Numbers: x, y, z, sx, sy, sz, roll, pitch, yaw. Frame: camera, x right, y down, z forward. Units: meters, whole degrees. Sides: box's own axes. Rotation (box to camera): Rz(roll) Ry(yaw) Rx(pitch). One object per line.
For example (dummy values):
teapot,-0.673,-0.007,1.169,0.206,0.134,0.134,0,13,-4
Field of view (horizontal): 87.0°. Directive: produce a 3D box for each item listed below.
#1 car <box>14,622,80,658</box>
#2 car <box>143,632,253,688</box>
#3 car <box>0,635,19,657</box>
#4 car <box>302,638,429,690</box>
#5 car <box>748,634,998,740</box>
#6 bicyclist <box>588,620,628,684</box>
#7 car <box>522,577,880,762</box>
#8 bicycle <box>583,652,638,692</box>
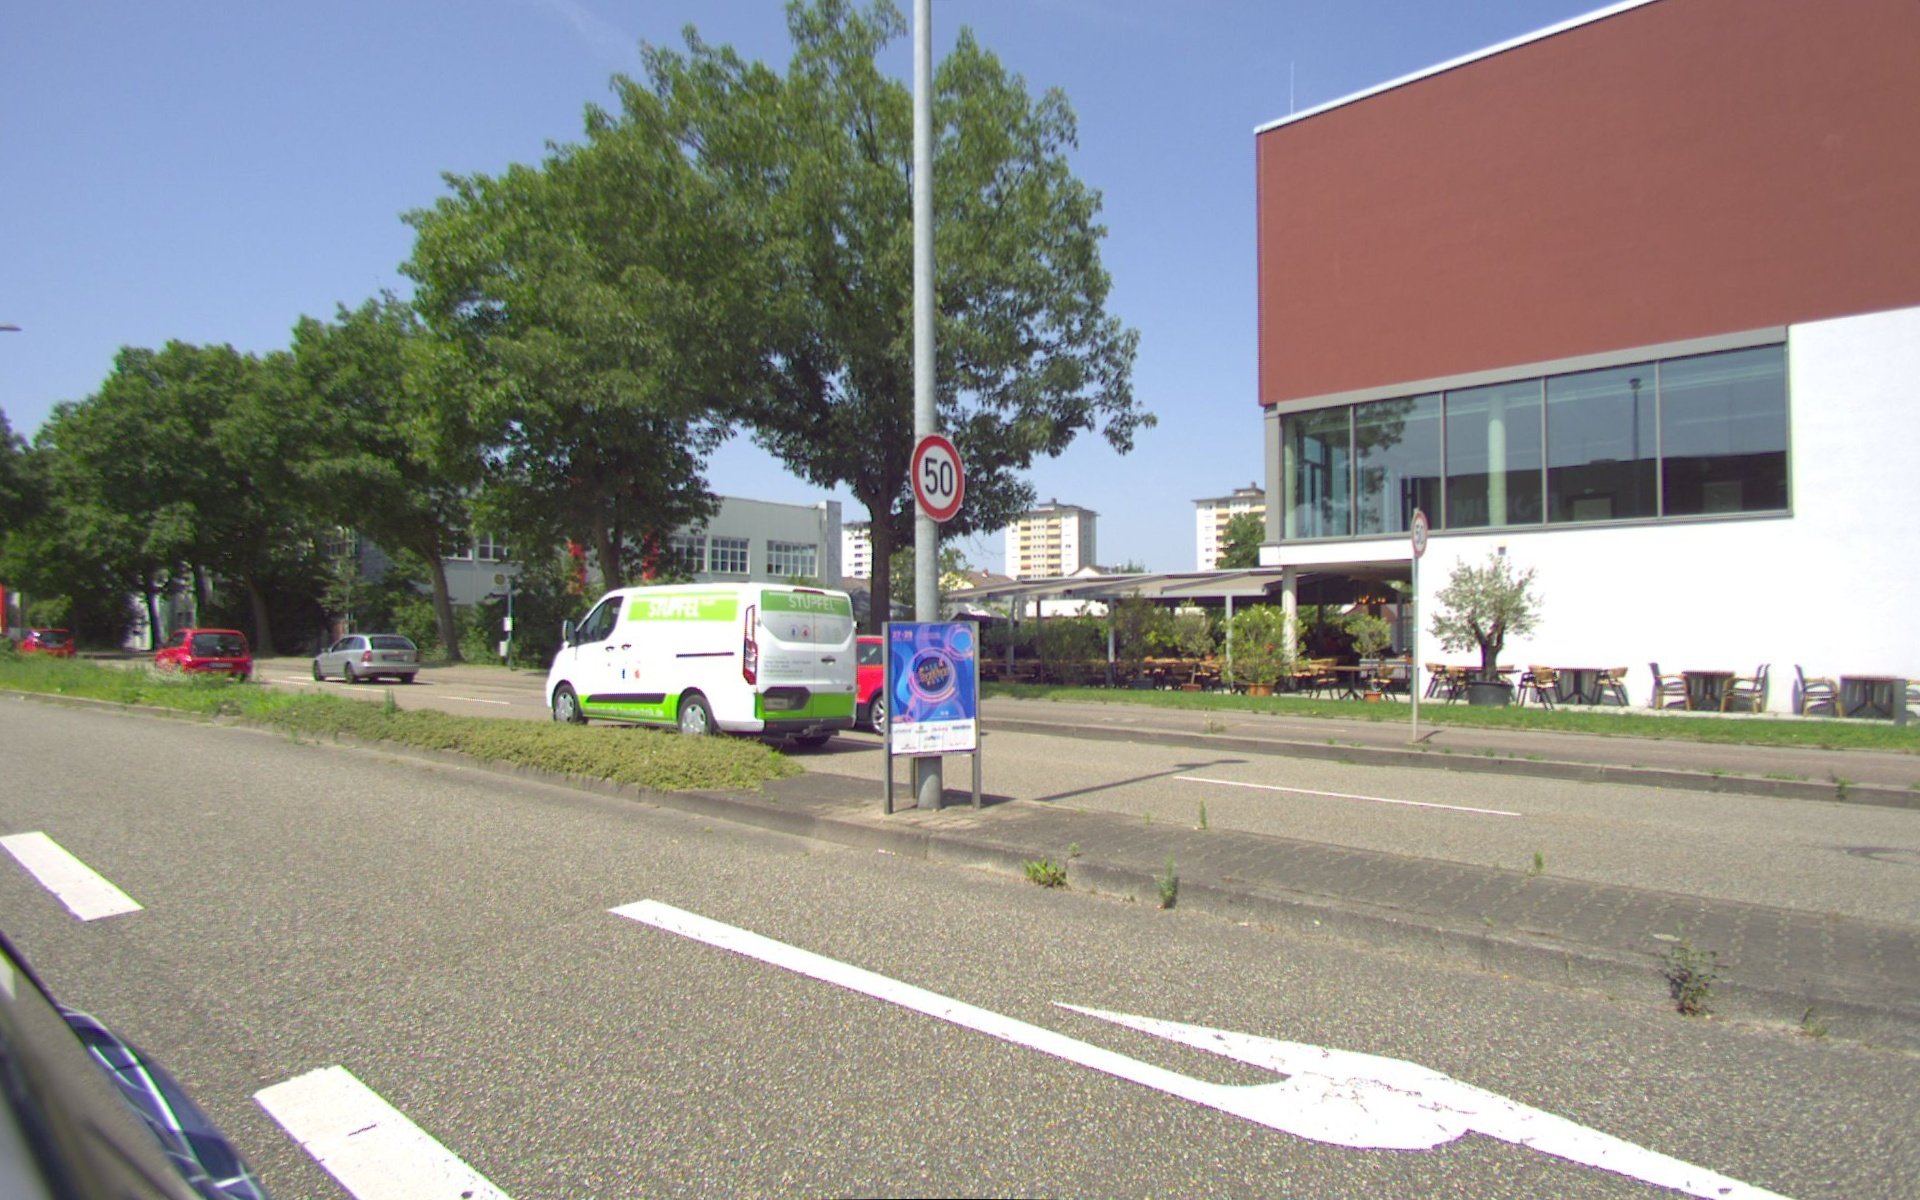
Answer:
car,-43.072,1.909,47.737,4.150,1.582,1.731,-2,-5,41
car,-20.939,1.633,27.777,3.605,1.452,1.564,-2,-4,39
car,-74.644,3.567,78.620,4.210,1.616,1.698,-2,-5,41
car,-17.443,1.847,29.626,4.356,1.415,1.759,-2,-5,40
car,-1.452,1.313,16.032,3.889,1.464,1.688,-2,-5,41
bicyclist,-9.243,1.364,26.541,0.923,1.643,0.601,-2,-3,41
car,-3.494,0.849,13.130,4.904,1.960,1.973,-2,-4,40
bicycle,-9.127,1.873,26.406,1.659,0.976,0.611,-2,-3,41
